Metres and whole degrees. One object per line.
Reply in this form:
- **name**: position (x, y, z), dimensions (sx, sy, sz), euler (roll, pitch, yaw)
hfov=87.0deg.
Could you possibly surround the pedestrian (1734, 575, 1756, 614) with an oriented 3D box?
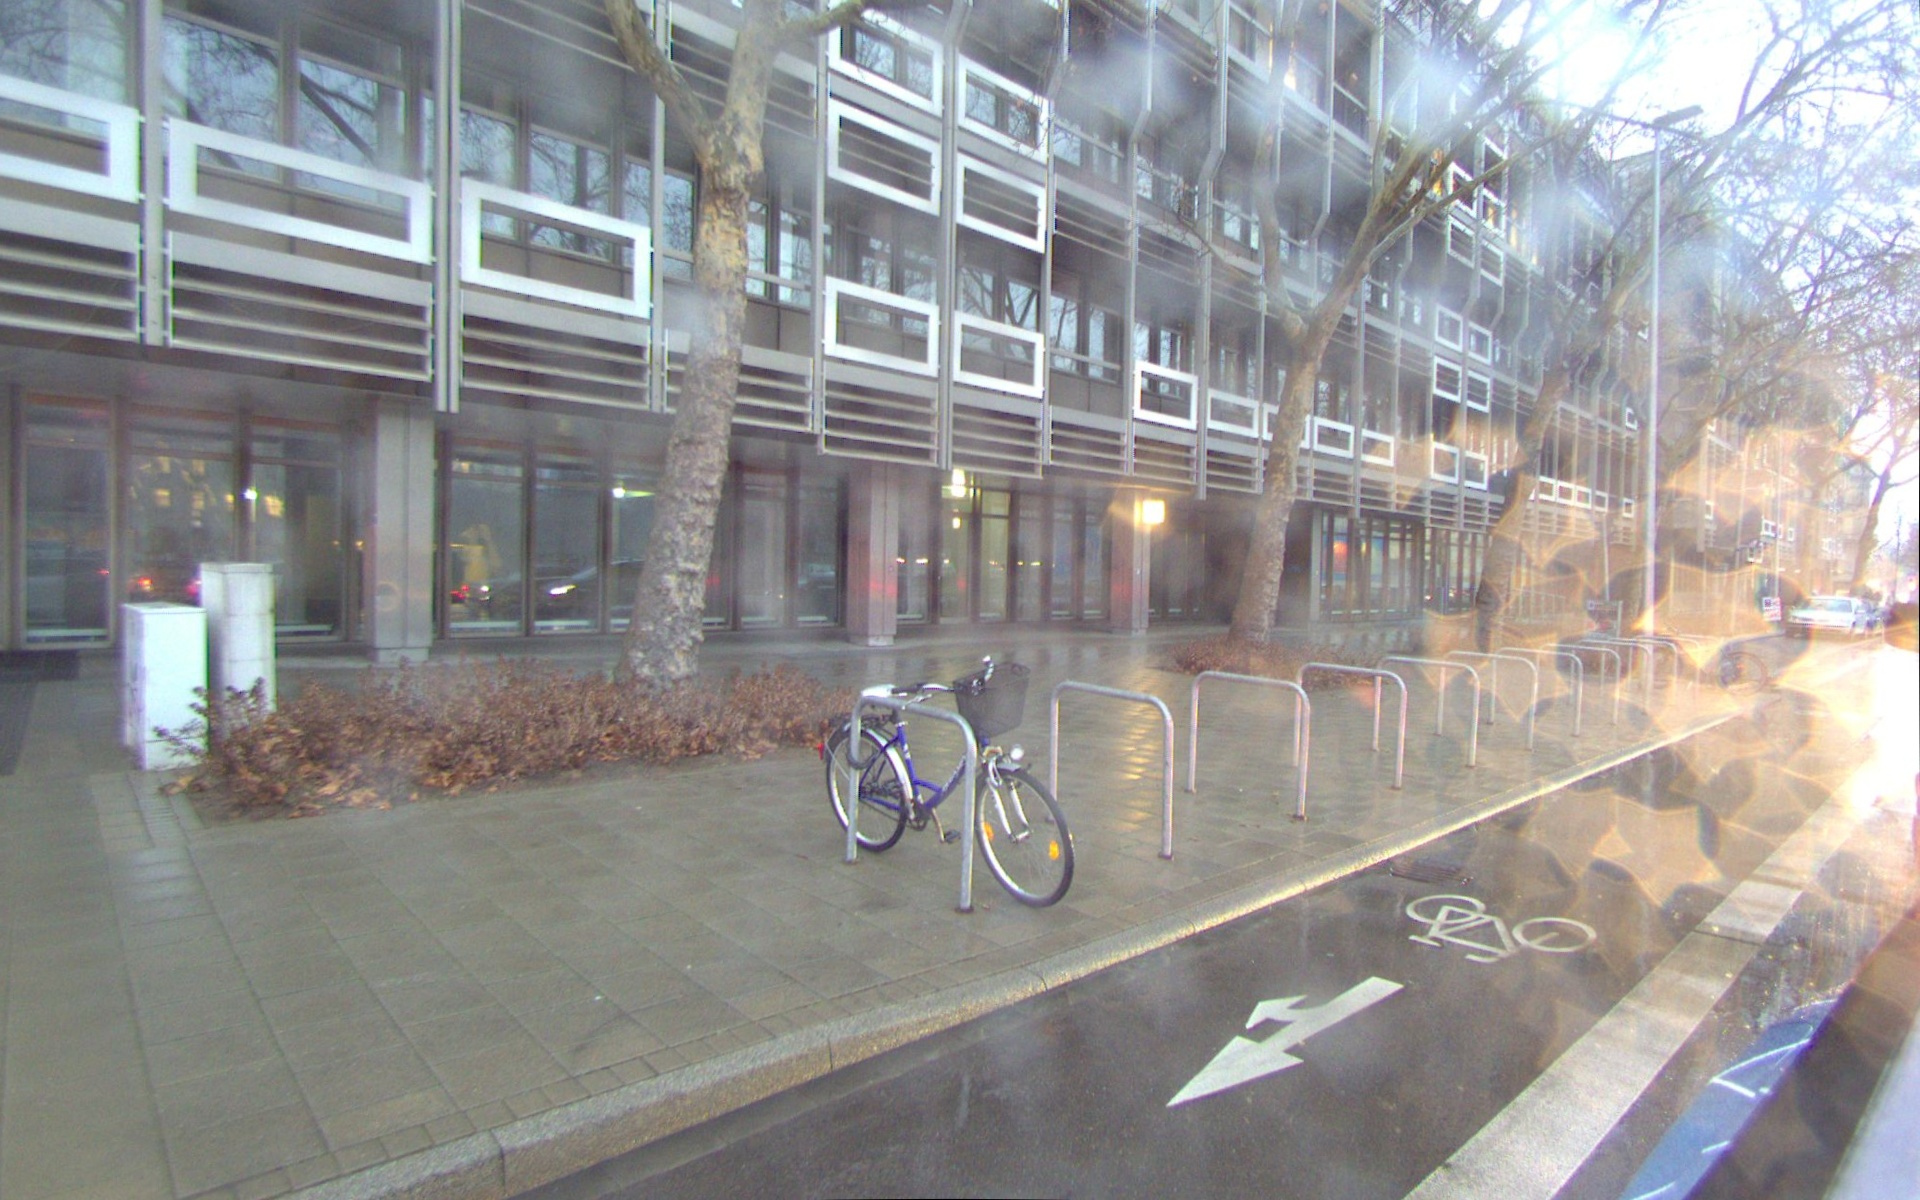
- **pedestrian**: position (40.515, -0.304, 52.243), dimensions (0.912, 2.004, 0.699), euler (0, 2, -41)

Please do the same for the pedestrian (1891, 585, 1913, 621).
- **pedestrian**: position (47.147, 0.136, 50.648), dimensions (0.765, 1.771, 0.913), euler (2, 2, 45)

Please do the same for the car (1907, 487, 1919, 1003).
- **car**: position (5.513, 0.506, 4.302), dimensions (3.932, 1.864, 1.875), euler (-1, 0, -42)

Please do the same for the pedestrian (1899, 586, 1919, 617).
- **pedestrian**: position (56.481, 0.080, 60.233), dimensions (0.765, 1.771, 0.913), euler (2, 2, 45)

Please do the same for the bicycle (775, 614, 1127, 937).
- **bicycle**: position (-0.131, 0.709, 4.877), dimensions (0.629, 1.145, 1.810), euler (2, 2, -41)

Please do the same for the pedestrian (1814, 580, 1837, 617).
- **pedestrian**: position (43.155, -0.084, 50.470), dimensions (0.765, 1.771, 0.913), euler (2, 2, 45)

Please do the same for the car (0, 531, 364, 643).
- **car**: position (-10.687, -0.215, 14.029), dimensions (3.929, 1.326, 1.998), euler (0, 3, -40)

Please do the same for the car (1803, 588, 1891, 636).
- **car**: position (29.647, 0.358, 33.787), dimensions (3.930, 1.482, 1.711), euler (-1, 1, -41)

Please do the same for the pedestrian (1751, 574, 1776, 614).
- **pedestrian**: position (44.644, -0.333, 56.239), dimensions (1.056, 2.222, 1.096), euler (0, 0, 38)

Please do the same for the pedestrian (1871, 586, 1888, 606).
- **pedestrian**: position (61.979, -0.265, 68.218), dimensions (0.738, 1.354, 0.781), euler (0, 0, -41)

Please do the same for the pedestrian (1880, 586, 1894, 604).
- **pedestrian**: position (68.888, -0.369, 75.206), dimensions (0.777, 1.354, 0.718), euler (0, 0, -41)

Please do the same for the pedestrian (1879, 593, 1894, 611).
- **pedestrian**: position (70.188, 0.147, 76.666), dimensions (0.777, 1.354, 0.718), euler (0, 0, -41)

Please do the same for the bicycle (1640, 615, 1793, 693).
- **bicycle**: position (11.629, 0.797, 15.602), dimensions (0.864, 1.004, 1.704), euler (0, 4, -41)
